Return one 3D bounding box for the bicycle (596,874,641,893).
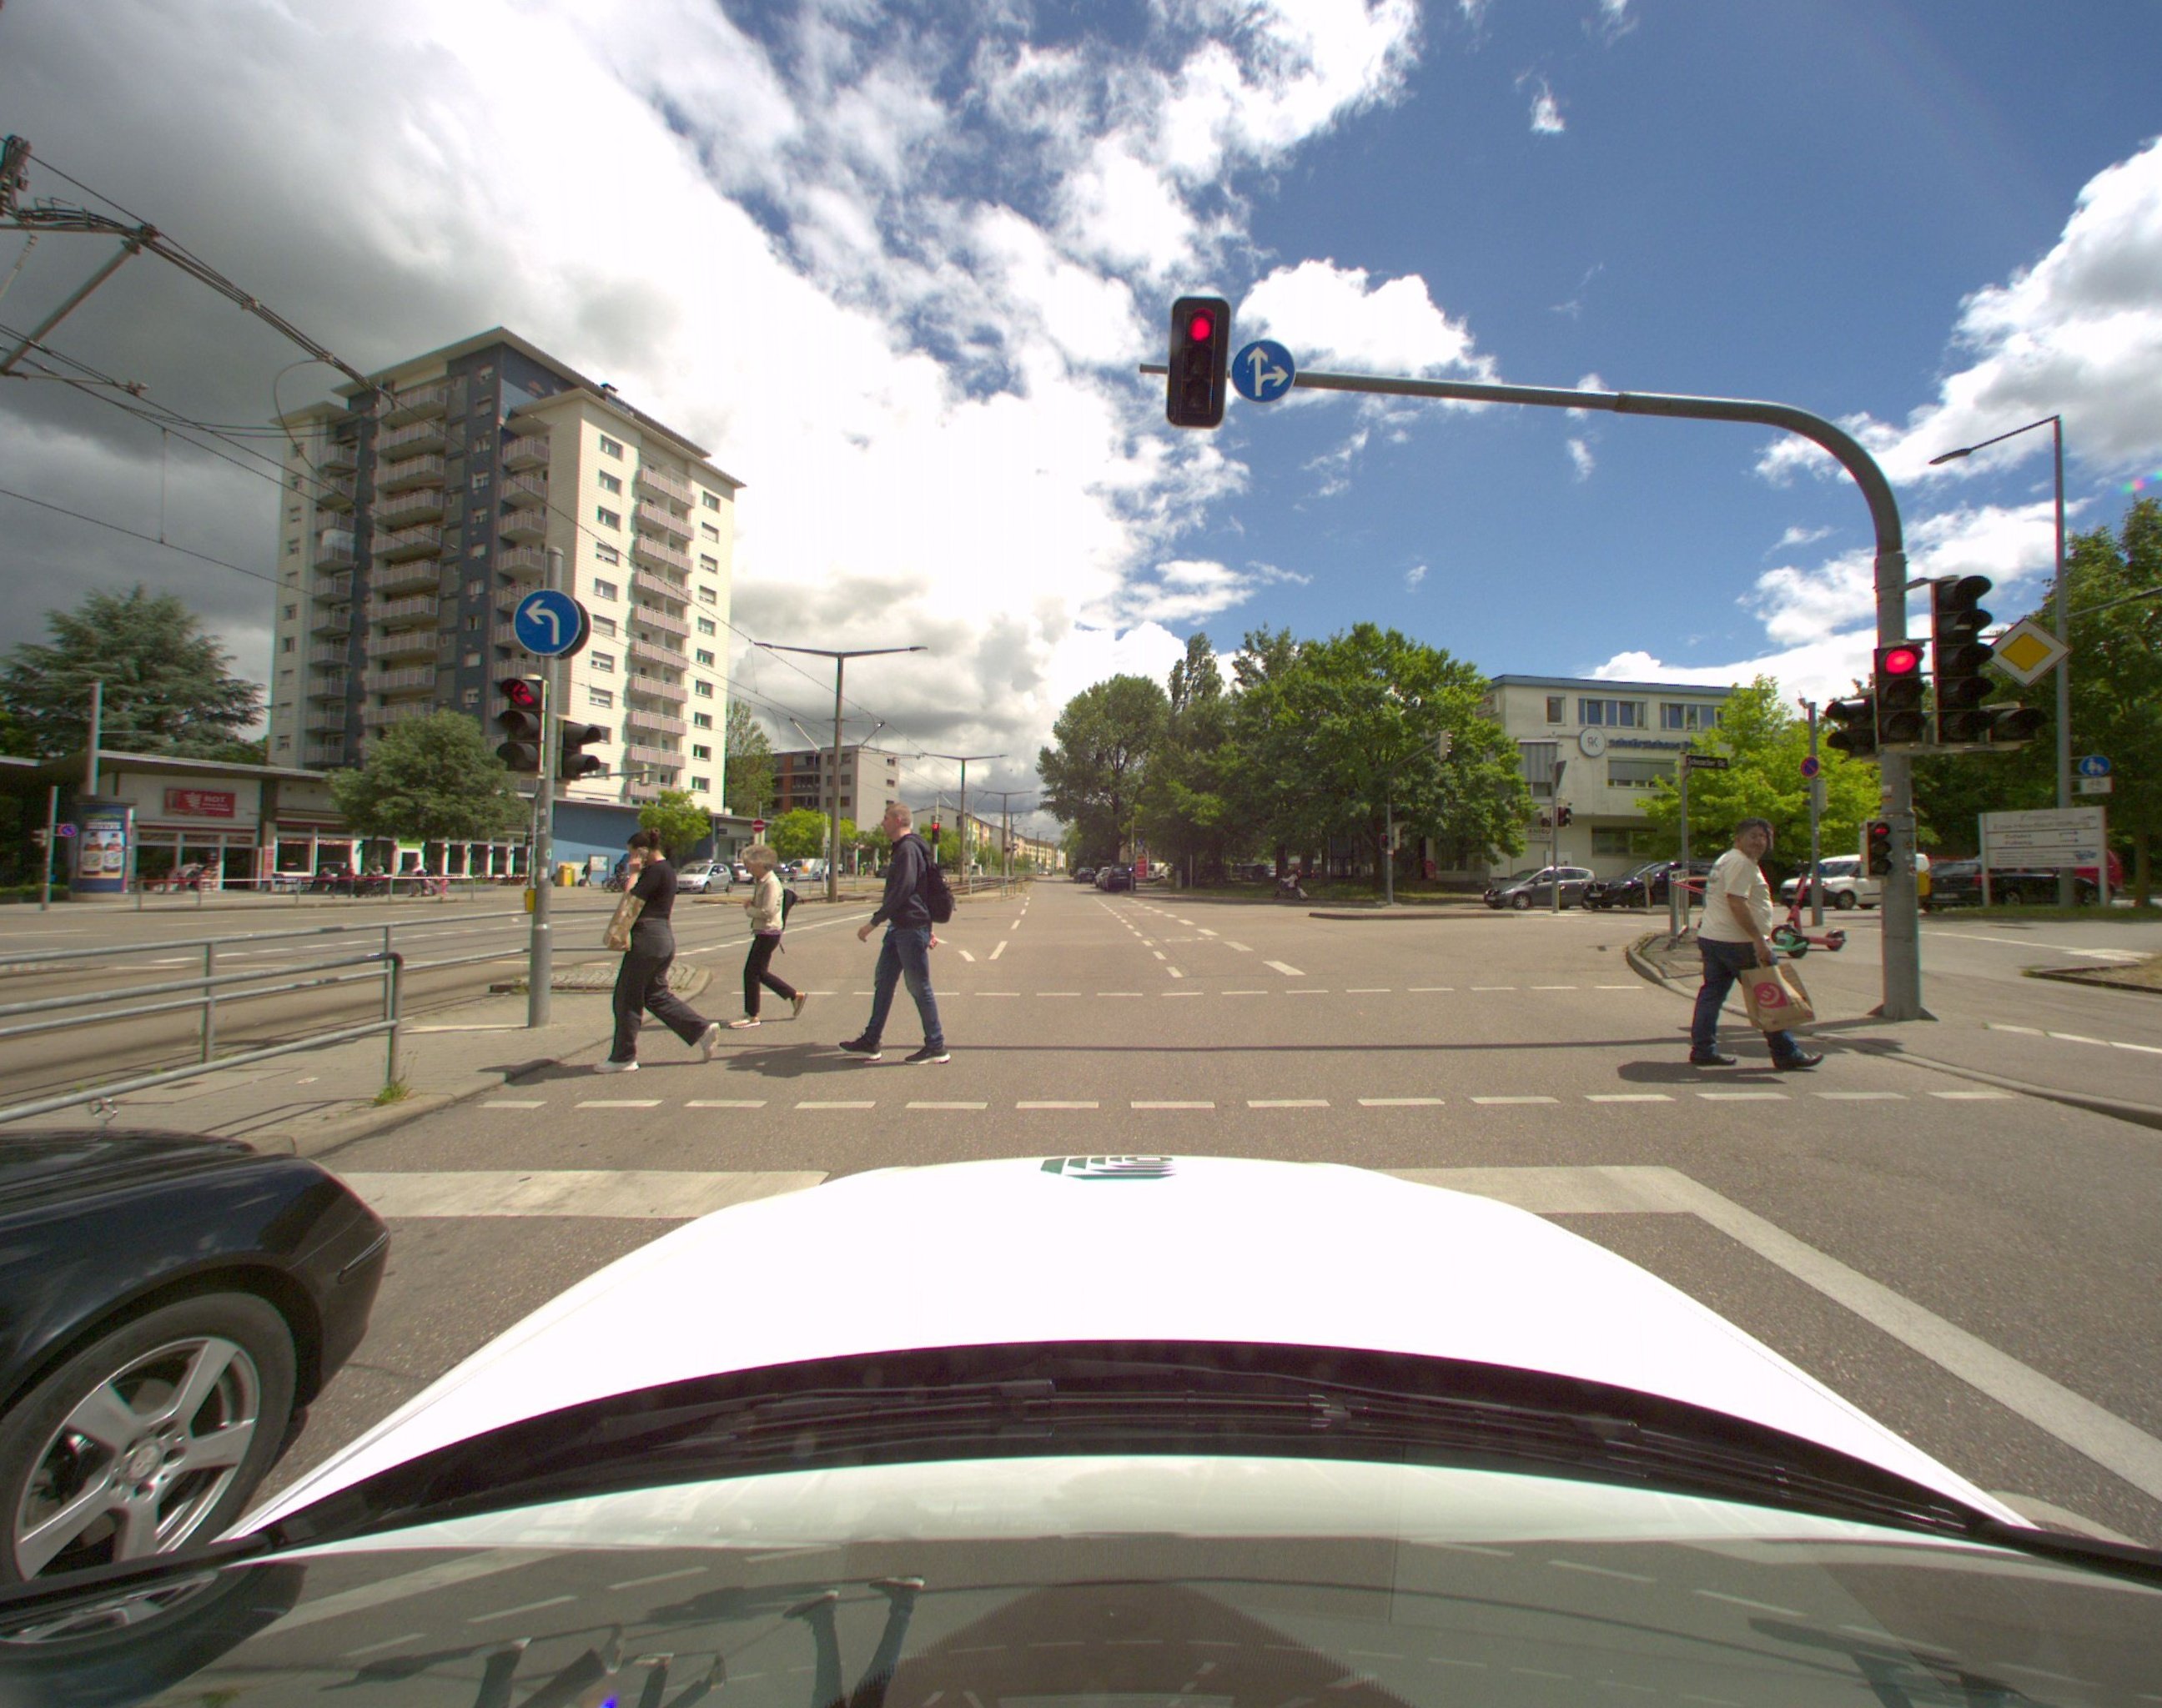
[{"bbox_3d":[-23.472,1.499,41.320,1.943,0.935,0.494,0,-1,-5],"label":"bicycle"}]

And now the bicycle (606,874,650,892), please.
[{"bbox_3d":[-23.522,1.510,42.293,1.943,0.935,0.494,0,-1,-5],"label":"bicycle"}]

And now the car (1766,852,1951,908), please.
[{"bbox_3d":[25.363,0.813,26.637,4.555,1.717,1.995,0,0,-8],"label":"car"}]

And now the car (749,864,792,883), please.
[{"bbox_3d":[-24.818,1.551,65.091,1.800,1.420,4.166,0,-1,-43],"label":"car"}]

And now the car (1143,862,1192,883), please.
[{"bbox_3d":[7.765,1.638,73.292,4.001,1.823,1.766,0,-1,-21],"label":"car"}]

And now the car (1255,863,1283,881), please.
[{"bbox_3d":[17.595,1.658,76.288,1.626,1.595,3.998,0,0,-1],"label":"car"}]

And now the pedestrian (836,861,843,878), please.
[{"bbox_3d":[-23.892,1.543,80.643,0.545,1.716,0.405,0,-1,1],"label":"pedestrian"}]

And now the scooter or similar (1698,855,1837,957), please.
[{"bbox_3d":[8.848,0.653,10.531,1.336,1.277,0.463,0,0,8],"label":"scooter or similar"}]

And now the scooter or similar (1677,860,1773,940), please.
[{"bbox_3d":[9.749,0.685,12.320,1.360,1.156,0.540,1,0,-23],"label":"scooter or similar"}]

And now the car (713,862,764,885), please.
[{"bbox_3d":[-24.718,1.398,58.716,4.165,1.570,1.973,-1,-1,45],"label":"car"}]

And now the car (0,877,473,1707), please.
[{"bbox_3d":[-2.762,0.790,0.180,1.721,1.461,4.546,0,0,2],"label":"car"}]

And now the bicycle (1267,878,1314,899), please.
[{"bbox_3d":[8.926,1.463,34.681,0.798,0.819,1.786,1,-1,-43],"label":"bicycle"}]

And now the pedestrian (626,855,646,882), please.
[{"bbox_3d":[-32.266,1.020,59.049,0.864,1.917,1.212,0,0,-8],"label":"pedestrian"}]

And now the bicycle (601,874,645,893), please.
[{"bbox_3d":[-23.497,1.504,41.787,1.943,0.935,0.494,0,-1,-5],"label":"bicycle"}]

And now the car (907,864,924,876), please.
[{"bbox_3d":[-21.444,2.045,105.595,1.758,1.395,3.993,0,0,-5],"label":"car"}]

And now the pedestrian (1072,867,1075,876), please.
[{"bbox_3d":[-1.289,2.900,134.832,0.477,1.637,0.454,0,-1,1],"label":"pedestrian"}]

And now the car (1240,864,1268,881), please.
[{"bbox_3d":[15.923,1.683,75.074,1.626,1.573,4.030,0,0,-1],"label":"car"}]

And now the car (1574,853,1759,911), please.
[{"bbox_3d":[18.319,0.834,25.601,4.551,1.717,1.996,0,0,-5],"label":"car"}]

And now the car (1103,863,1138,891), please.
[{"bbox_3d":[2.487,1.455,51.883,2.144,1.684,4.001,0,-1,2],"label":"car"}]

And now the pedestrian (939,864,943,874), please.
[{"bbox_3d":[-21.486,2.301,124.851,0.450,1.637,0.481,0,-1,6],"label":"pedestrian"}]

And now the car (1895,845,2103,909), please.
[{"bbox_3d":[23.588,0.599,20.985,3.989,1.487,1.751,-1,-3,-12],"label":"car"}]

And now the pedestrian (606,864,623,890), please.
[{"bbox_3d":[-29.920,1.476,52.207,0.767,1.615,0.695,0,-1,-12],"label":"pedestrian"}]

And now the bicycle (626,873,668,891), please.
[{"bbox_3d":[-23.380,1.525,43.897,1.943,0.935,0.494,0,-1,-5],"label":"bicycle"}]

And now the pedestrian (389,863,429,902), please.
[{"bbox_3d":[-29.480,1.256,35.734,0.935,1.659,1.106,-2,-1,33],"label":"pedestrian"}]

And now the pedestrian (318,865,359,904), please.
[{"bbox_3d":[-31.544,1.287,34.619,0.957,1.659,1.002,-1,-1,27],"label":"pedestrian"}]

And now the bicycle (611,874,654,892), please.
[{"bbox_3d":[-23.546,1.515,42.770,1.943,0.935,0.494,0,-1,-5],"label":"bicycle"}]

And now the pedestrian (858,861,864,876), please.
[{"bbox_3d":[-24.399,1.591,90.209,0.547,1.716,0.667,0,-1,-8],"label":"pedestrian"}]

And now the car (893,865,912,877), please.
[{"bbox_3d":[-21.671,2.069,99.181,1.758,1.395,3.993,0,0,-5],"label":"car"}]

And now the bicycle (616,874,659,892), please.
[{"bbox_3d":[-23.570,1.520,43.281,1.943,0.935,0.494,0,-1,-5],"label":"bicycle"}]

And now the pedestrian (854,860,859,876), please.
[{"bbox_3d":[-25.142,1.558,91.221,0.547,1.716,0.404,0,-1,-8],"label":"pedestrian"}]

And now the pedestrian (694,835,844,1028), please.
[{"bbox_3d":[-2.898,0.688,7.625,0.945,1.674,0.874,-1,-1,16],"label":"pedestrian"}]

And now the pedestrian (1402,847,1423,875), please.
[{"bbox_3d":[19.252,0.411,47.262,0.769,1.643,0.903,0,-1,-12],"label":"pedestrian"}]

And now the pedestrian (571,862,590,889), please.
[{"bbox_3d":[-30.367,1.294,49.383,0.767,1.615,0.695,0,-1,-11],"label":"pedestrian"}]

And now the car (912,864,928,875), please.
[{"bbox_3d":[-21.812,2.048,110.350,1.758,1.395,3.993,0,0,-5],"label":"car"}]

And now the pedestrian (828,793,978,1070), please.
[{"bbox_3d":[-1.310,0.541,6.183,0.963,1.942,0.896,0,0,-3],"label":"pedestrian"}]

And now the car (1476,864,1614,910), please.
[{"bbox_3d":[16.694,1.151,29.439,3.898,1.556,1.998,0,0,-3],"label":"car"}]

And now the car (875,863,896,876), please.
[{"bbox_3d":[-22.009,1.698,91.789,1.758,1.395,3.993,0,0,-5],"label":"car"}]

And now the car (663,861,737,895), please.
[{"bbox_3d":[-19.812,1.219,42.574,1.930,1.693,3.874,0,0,2],"label":"car"}]

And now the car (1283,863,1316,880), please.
[{"bbox_3d":[20.568,1.639,76.679,1.728,1.595,3.992,0,0,-5],"label":"car"}]

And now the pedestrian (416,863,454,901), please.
[{"bbox_3d":[-29.330,1.267,36.984,0.935,1.659,1.106,-2,-1,33],"label":"pedestrian"}]

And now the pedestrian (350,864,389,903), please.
[{"bbox_3d":[-31.190,1.295,35.702,0.957,1.659,1.002,-1,-1,27],"label":"pedestrian"}]

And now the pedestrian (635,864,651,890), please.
[{"bbox_3d":[-28.539,1.491,53.073,0.768,1.615,0.695,0,-1,-13],"label":"pedestrian"}]

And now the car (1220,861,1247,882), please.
[{"bbox_3d":[13.881,1.558,74.363,1.626,1.811,4.030,0,0,-1],"label":"car"}]

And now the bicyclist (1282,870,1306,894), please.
[{"bbox_3d":[9.061,1.181,34.614,0.798,1.022,0.628,1,-1,-42],"label":"bicyclist"}]

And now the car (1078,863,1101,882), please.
[{"bbox_3d":[0.809,1.707,74.648,1.986,1.684,4.002,0,0,2],"label":"car"}]

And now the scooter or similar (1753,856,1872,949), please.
[{"bbox_3d":[10.234,0.673,11.407,1.225,1.240,0.555,2,0,-7],"label":"scooter or similar"}]

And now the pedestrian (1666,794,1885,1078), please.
[{"bbox_3d":[4.718,0.522,5.587,0.866,1.808,0.741,0,0,-2],"label":"pedestrian"}]

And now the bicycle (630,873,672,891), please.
[{"bbox_3d":[-23.423,1.531,44.390,1.943,0.935,0.494,0,-1,-5],"label":"bicycle"}]

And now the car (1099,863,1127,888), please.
[{"bbox_3d":[2.329,1.562,59.338,1.986,1.684,4.001,0,-1,2],"label":"car"}]

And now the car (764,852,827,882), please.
[{"bbox_3d":[-24.688,1.092,70.207,2.848,2.479,6.641,0,-1,-42],"label":"car"}]

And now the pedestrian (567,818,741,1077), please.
[{"bbox_3d":[-3.101,0.638,6.015,0.933,1.765,0.769,0,0,-10],"label":"pedestrian"}]

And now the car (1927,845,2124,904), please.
[{"bbox_3d":[31.577,0.692,27.290,4.800,1.864,1.994,0,-2,-8],"label":"car"}]
